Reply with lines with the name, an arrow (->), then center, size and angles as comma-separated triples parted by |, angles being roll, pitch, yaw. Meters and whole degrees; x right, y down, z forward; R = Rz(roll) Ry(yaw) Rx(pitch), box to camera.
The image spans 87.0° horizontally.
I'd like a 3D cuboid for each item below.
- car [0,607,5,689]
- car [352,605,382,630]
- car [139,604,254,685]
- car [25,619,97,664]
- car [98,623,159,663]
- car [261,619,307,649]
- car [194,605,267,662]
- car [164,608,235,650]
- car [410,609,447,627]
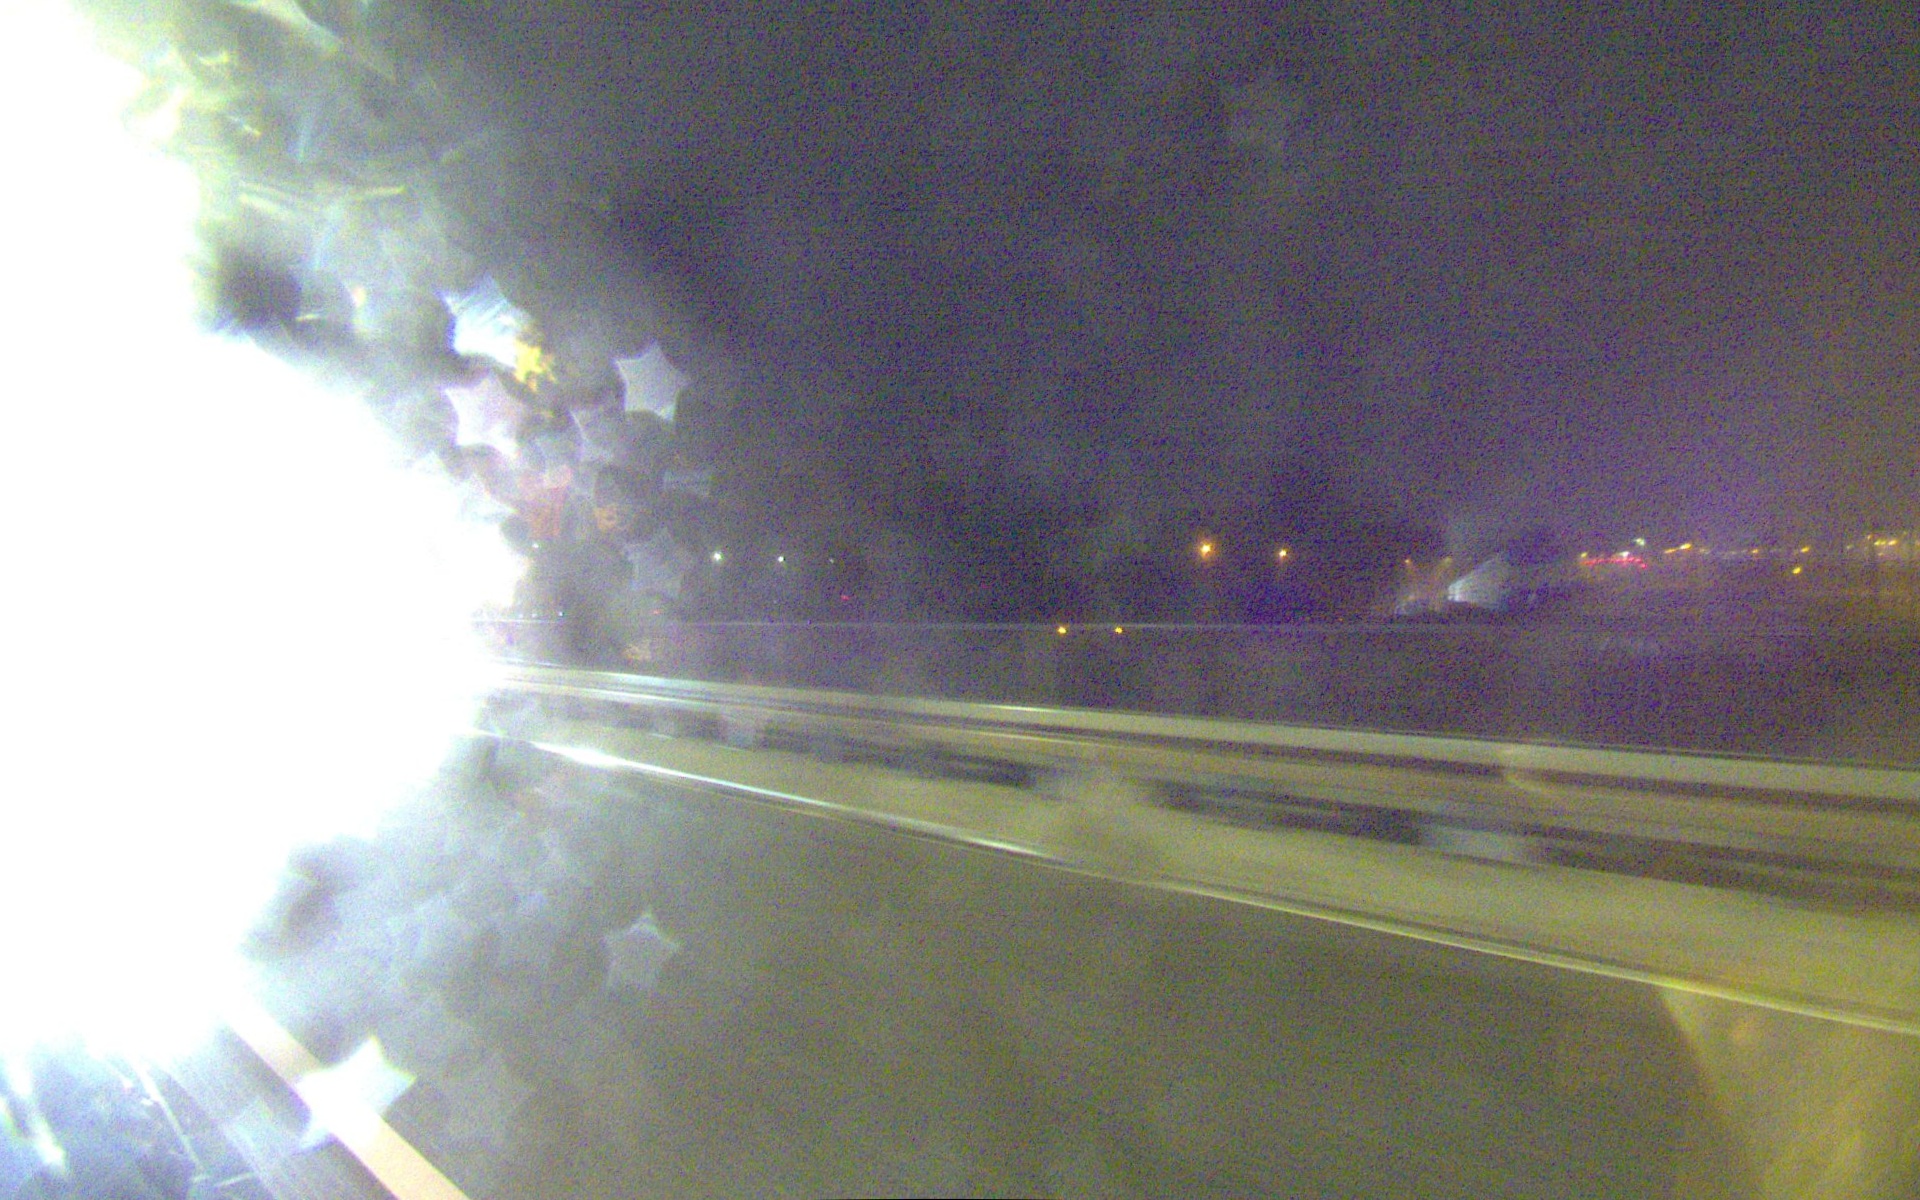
car -> -24.458, 1.192, 24.359 | 1.969, 2.029, 4.006 | 0, -1, -41
car -> -49.536, 1.439, 84.603 | 1.521, 2.029, 4.013 | 0, -1, -22
car -> -18.257, 0.994, 24.165 | 1.996, 1.732, 4.991 | 1, -1, -38
car -> -32.789, 1.493, 36.983 | 1.498, 1.537, 3.116 | 0, -1, -32
car -> -37.720, 1.905, 45.964 | 1.284, 1.540, 3.056 | -8, 3, -25
car -> -33.958, 1.700, 50.906 | 1.790, 1.415, 4.059 | 1, -2, -33
car -> -25.571, 1.162, 35.584 | 1.730, 1.875, 4.011 | 2, -2, -31
car -> -45.608, 1.693, 60.801 | 1.967, 2.027, 4.013 | -6, 5, -16
car -> -52.387, 1.800, 99.815 | 1.972, 1.687, 4.628 | -1, 0, -11
